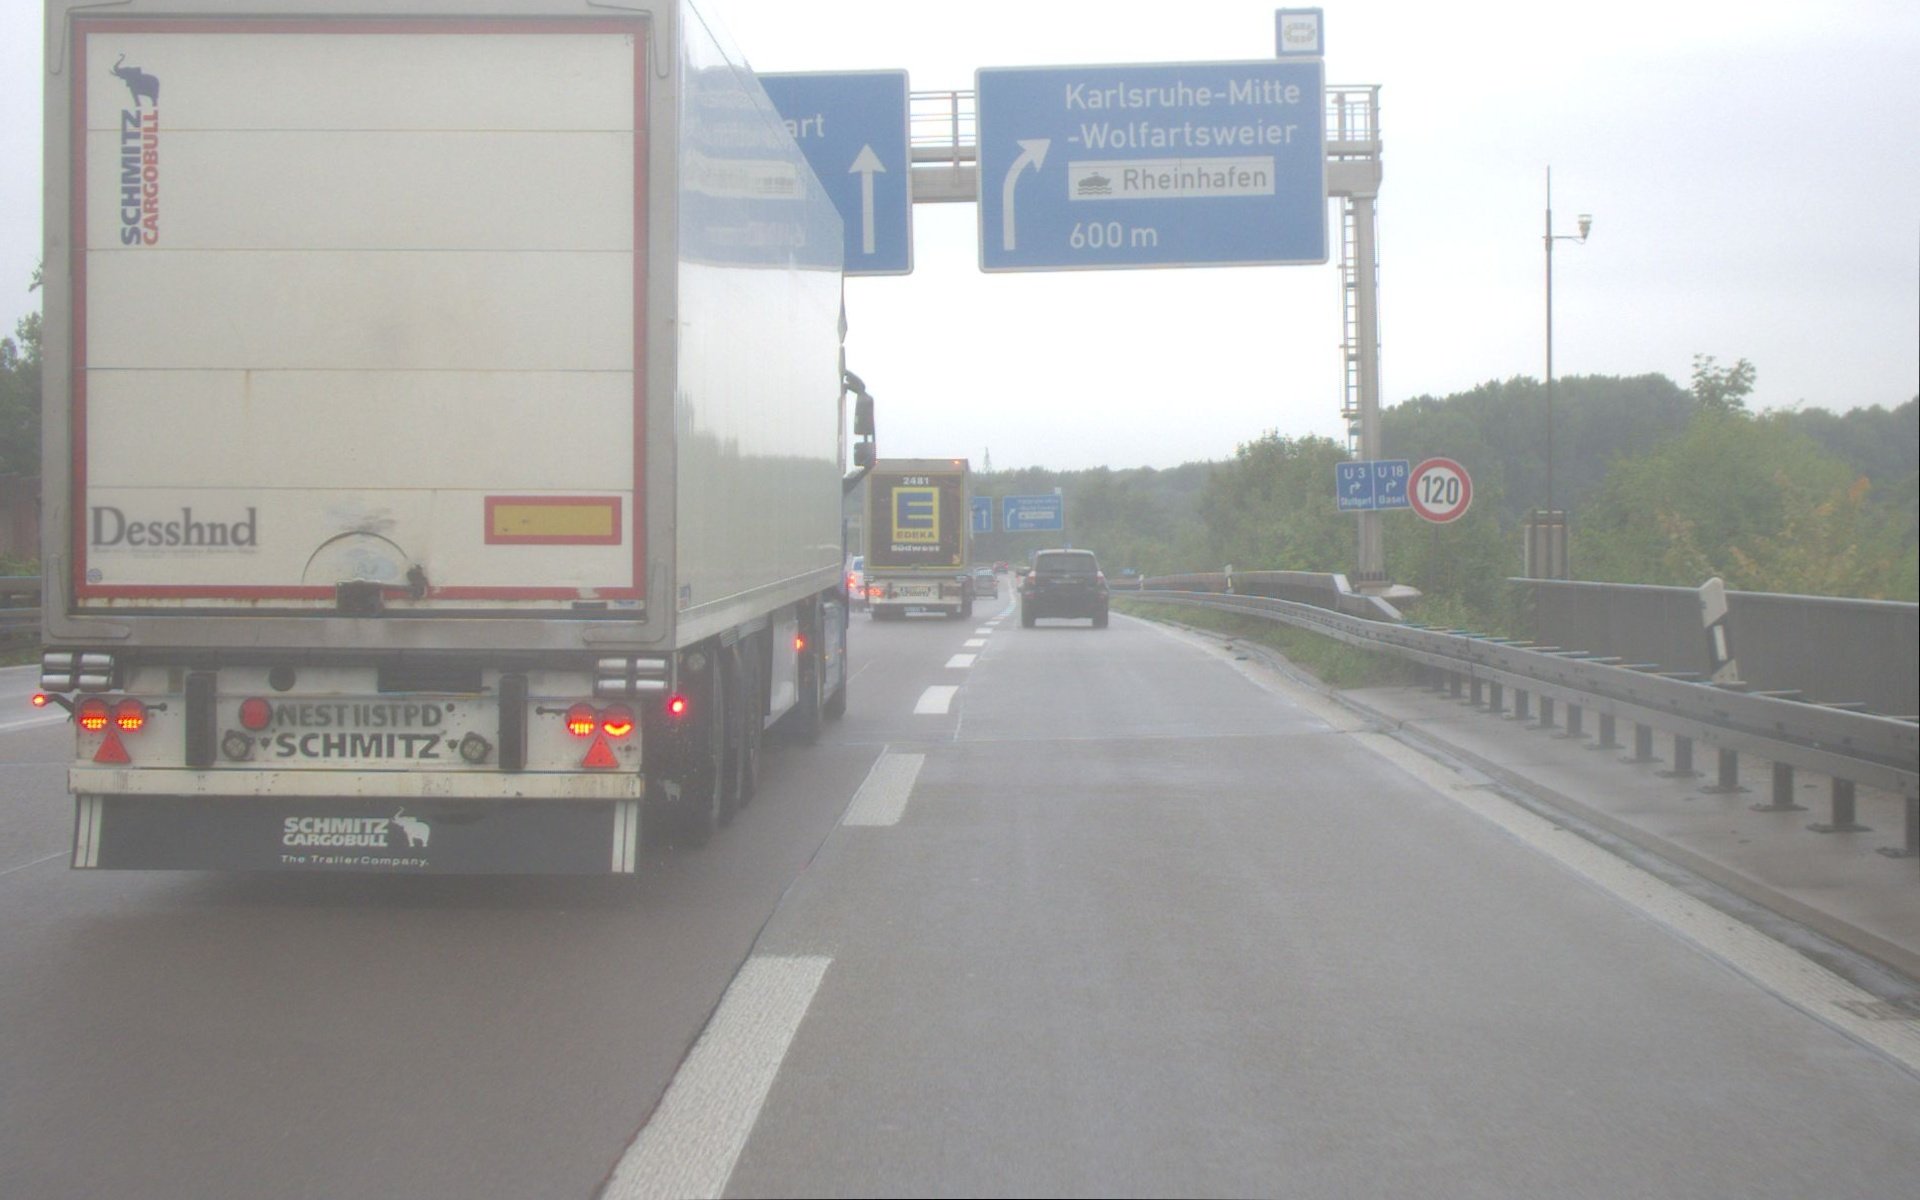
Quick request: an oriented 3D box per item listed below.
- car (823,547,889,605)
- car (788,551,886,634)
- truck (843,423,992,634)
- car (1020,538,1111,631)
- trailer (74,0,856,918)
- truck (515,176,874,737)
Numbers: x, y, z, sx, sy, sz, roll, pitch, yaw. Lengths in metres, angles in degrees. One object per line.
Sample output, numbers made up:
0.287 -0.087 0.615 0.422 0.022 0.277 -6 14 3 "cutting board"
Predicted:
-3.568 -0.842 118.558 2.049 1.943 4.000 1 1 1 "car"
-2.652 -0.177 74.738 1.894 1.718 4.000 1 1 1 "car"
-1.011 -1.837 90.210 3.534 5.165 9.893 1 1 1 "truck"
2.301 -0.355 74.516 1.897 1.943 4.000 1 1 2 "car"
-2.195 -0.964 21.058 2.342 4.143 14.827 1 1 1 "trailer"
-2.062 -1.125 28.803 2.342 4.143 6.346 1 1 1 "truck"
